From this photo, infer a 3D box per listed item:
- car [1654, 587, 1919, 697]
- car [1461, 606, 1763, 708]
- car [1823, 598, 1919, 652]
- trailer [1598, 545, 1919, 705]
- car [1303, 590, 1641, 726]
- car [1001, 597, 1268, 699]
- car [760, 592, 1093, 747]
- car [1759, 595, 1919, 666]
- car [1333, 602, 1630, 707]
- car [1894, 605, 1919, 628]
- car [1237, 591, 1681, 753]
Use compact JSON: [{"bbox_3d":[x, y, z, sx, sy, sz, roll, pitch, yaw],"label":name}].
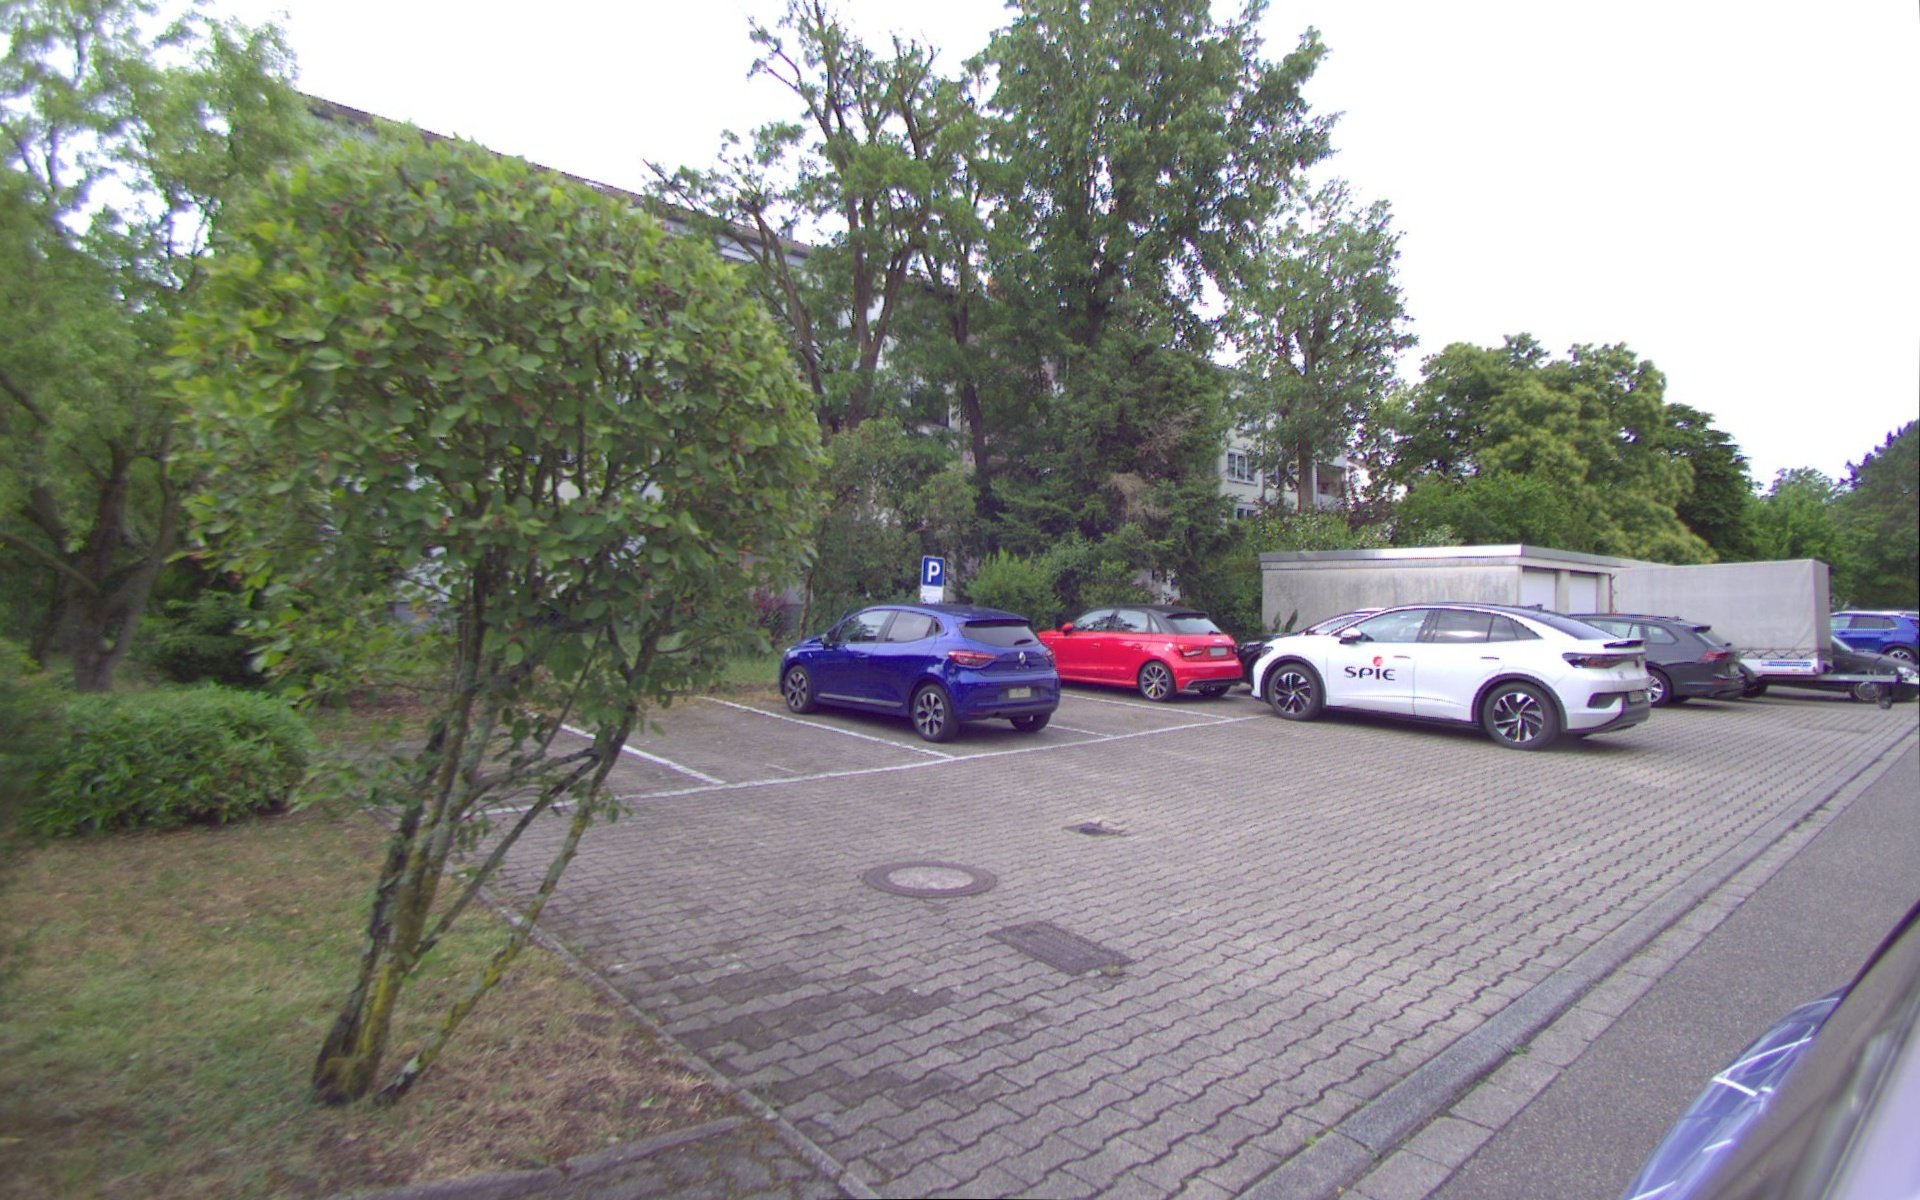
[{"bbox_3d":[16.790,0.760,20.320,1.966,1.824,4.317,1,2,-42],"label":"car"},{"bbox_3d":[11.113,0.885,17.480,1.585,1.467,4.133,1,0,-42],"label":"car"},{"bbox_3d":[33.641,0.911,36.023,1.966,1.749,4.202,1,2,-42],"label":"car"},{"bbox_3d":[14.600,0.408,18.520,1.909,2.557,4.616,1,-1,-41],"label":"trailer"},{"bbox_3d":[7.399,0.726,14.871,1.967,1.571,3.991,1,2,-44],"label":"car"},{"bbox_3d":[2.718,0.687,16.362,1.937,1.398,3.903,1,0,-42],"label":"car"},{"bbox_3d":[-0.535,0.695,12.270,1.993,1.530,3.903,1,0,-42],"label":"car"},{"bbox_3d":[25.207,0.838,28.467,1.966,1.724,3.993,1,2,-42],"label":"car"},{"bbox_3d":[8.585,0.813,16.935,1.880,1.467,4.005,1,0,-39],"label":"car"},{"bbox_3d":[65.900,1.157,68.324,1.757,1.504,4.098,0,1,-43],"label":"car"},{"bbox_3d":[5.951,0.720,12.555,1.953,1.609,4.546,1,0,-40],"label":"car"}]
